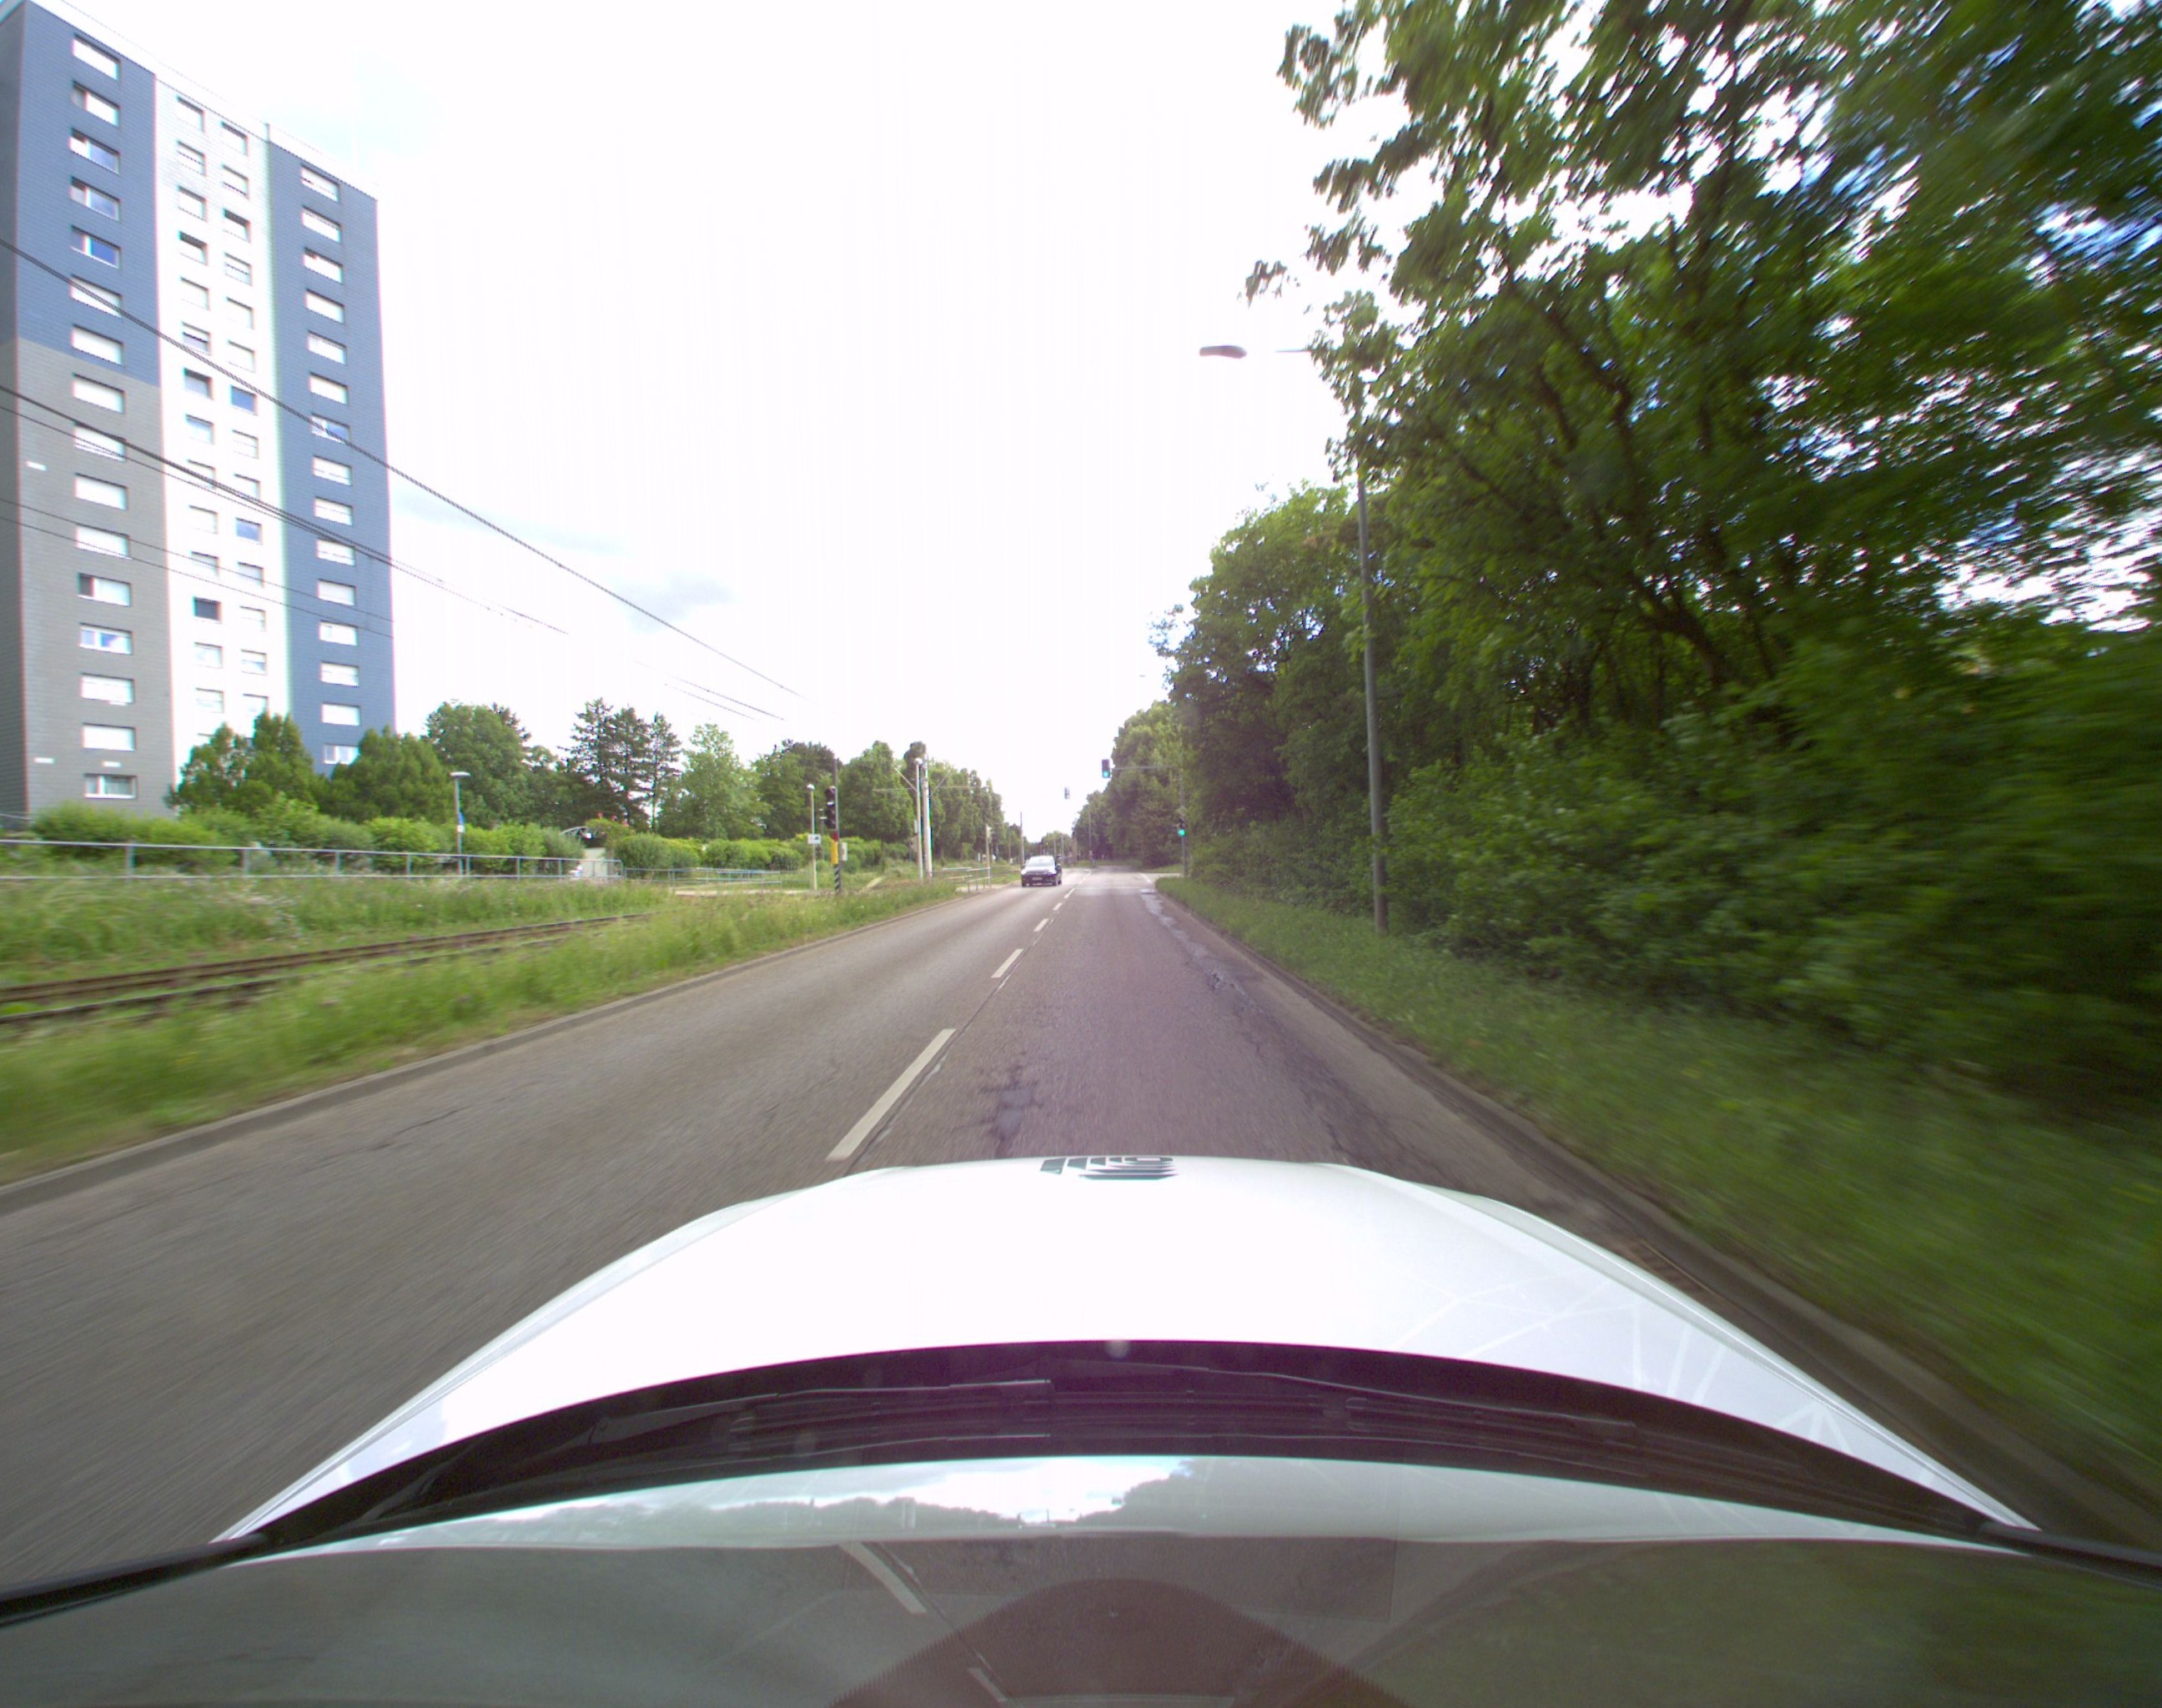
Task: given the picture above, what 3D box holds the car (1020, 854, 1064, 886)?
[{"bbox_3d":[-1.940,0.788,41.812,1.843,1.470,4.258,-1,0,2],"label":"car"}]
